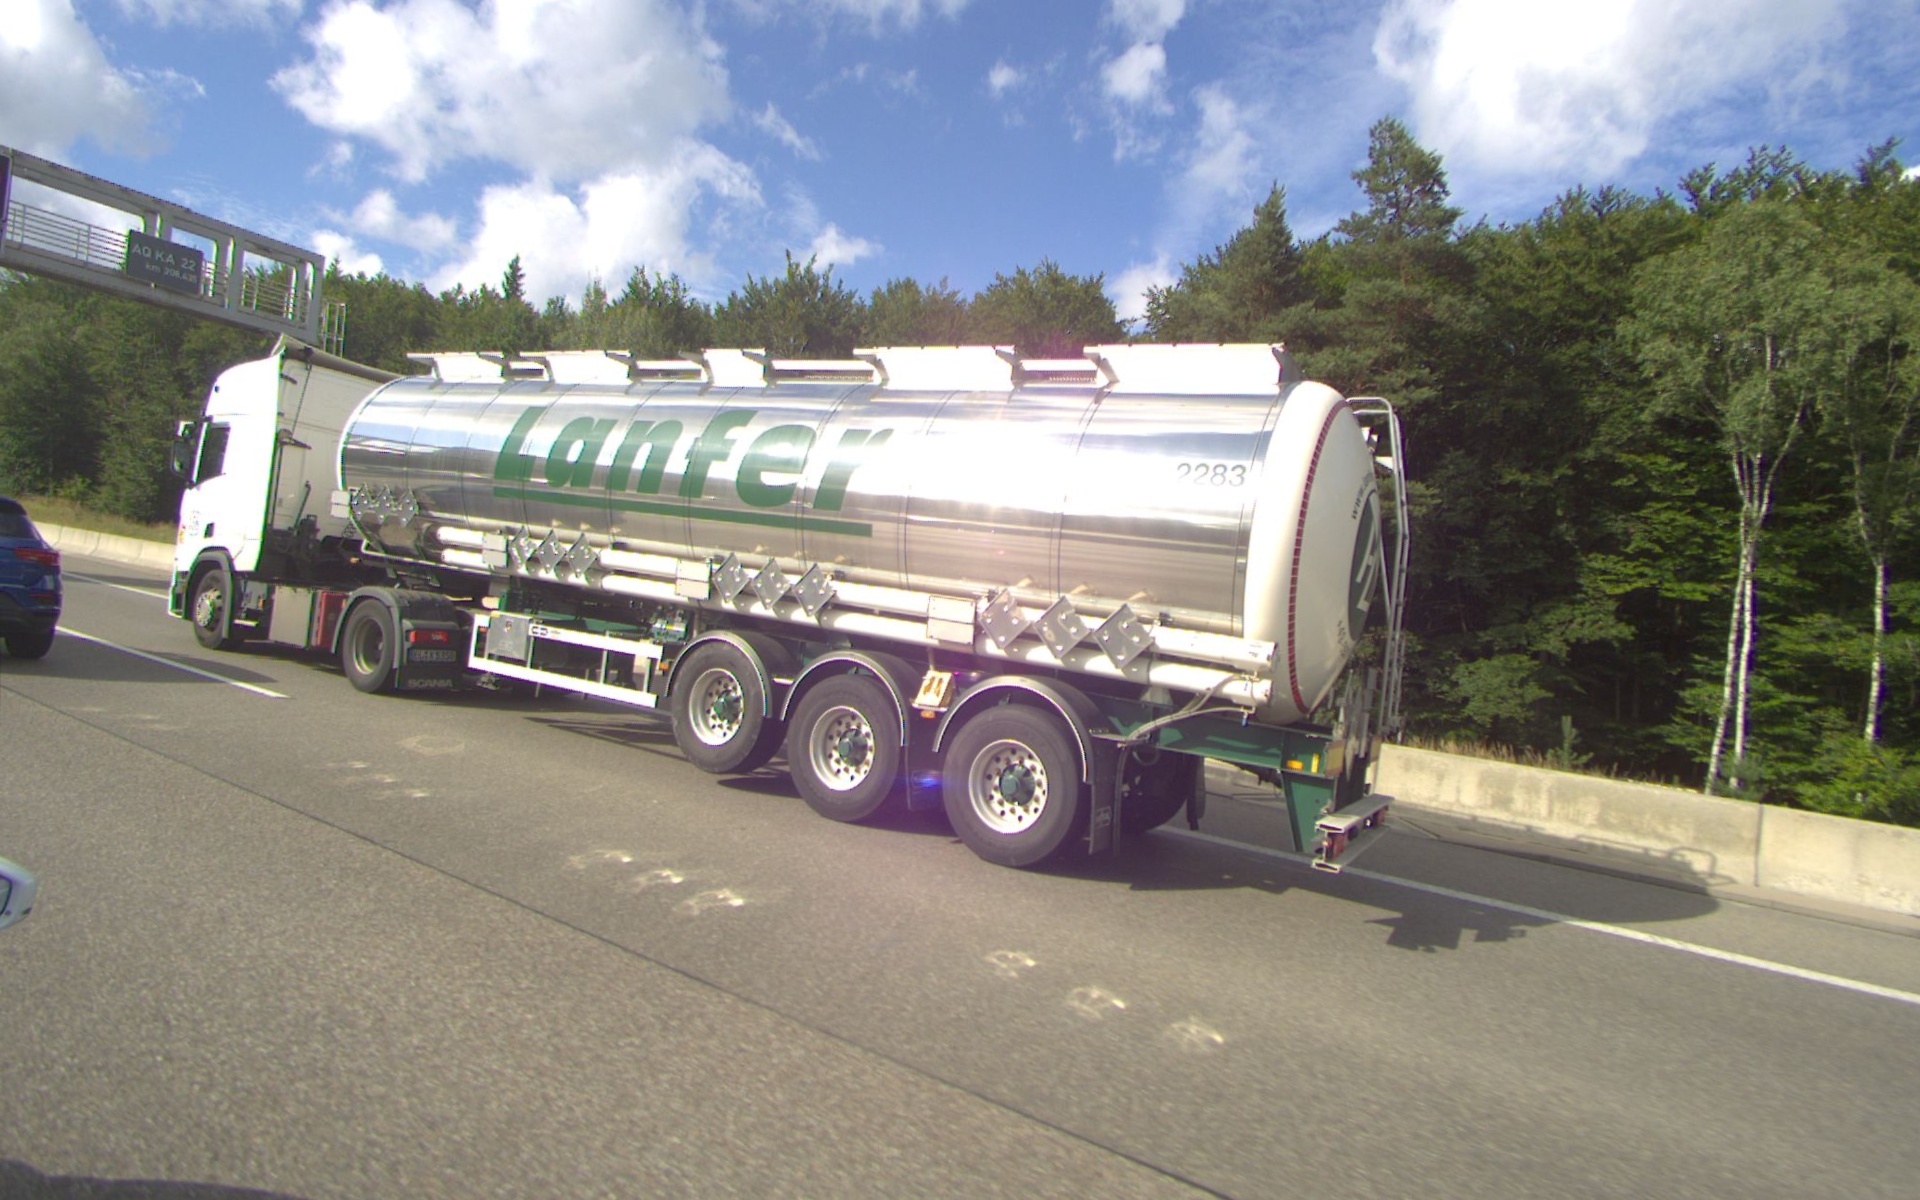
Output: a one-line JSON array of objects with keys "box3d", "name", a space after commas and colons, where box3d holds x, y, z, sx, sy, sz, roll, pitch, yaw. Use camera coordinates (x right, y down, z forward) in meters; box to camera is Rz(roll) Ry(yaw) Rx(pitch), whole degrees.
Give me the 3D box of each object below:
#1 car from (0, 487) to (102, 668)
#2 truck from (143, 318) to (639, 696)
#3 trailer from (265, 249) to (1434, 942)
[{"box3d": [-10.337, -0.447, 9.661, 4.383, 1.547, 1.777, 7, -2, 31], "name": "car"}, {"box3d": [-7.420, -1.132, 12.924, 5.980, 3.870, 2.653, 7, 0, 31], "name": "truck"}, {"box3d": [-2.178, -0.497, 9.684, 11.662, 3.813, 2.653, 7, 0, 31], "name": "trailer"}]
